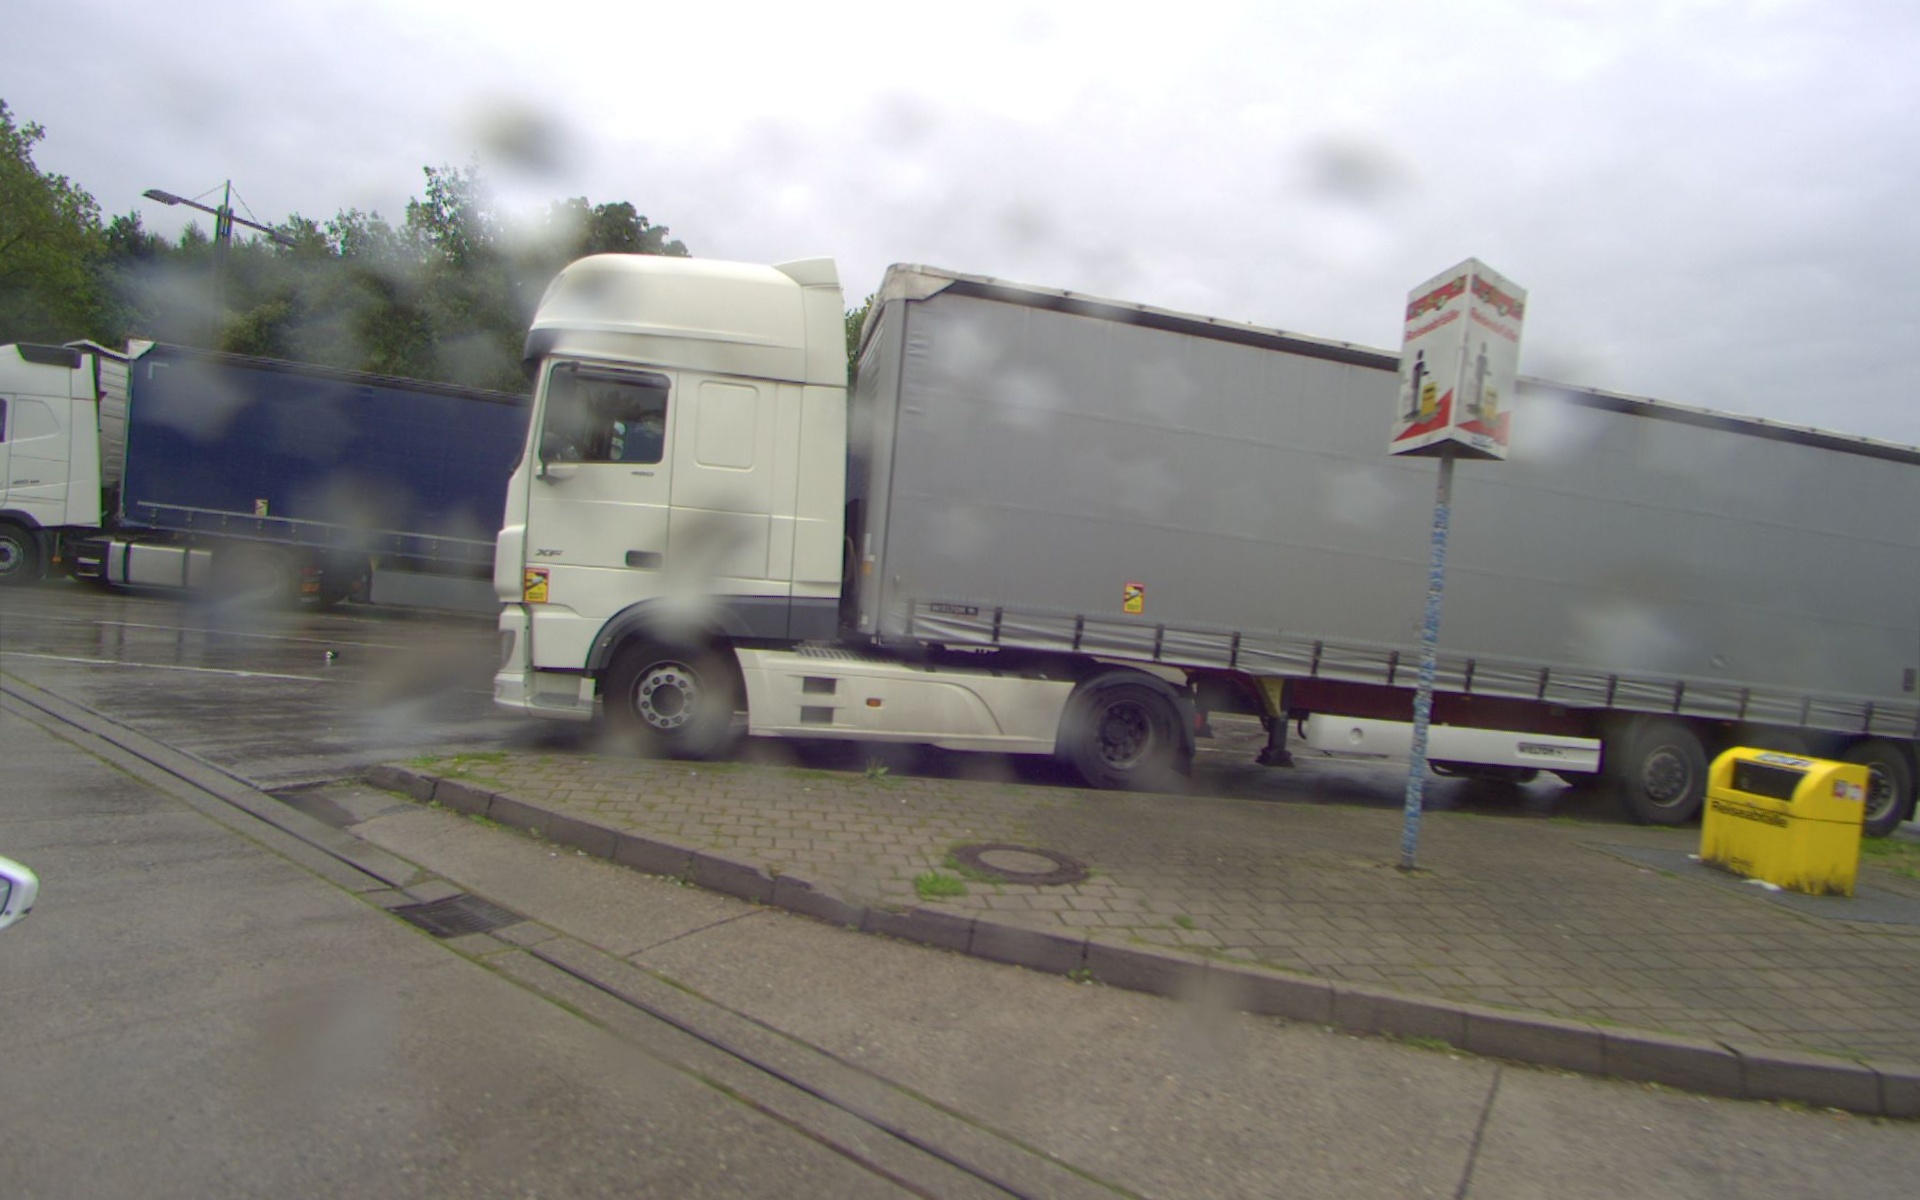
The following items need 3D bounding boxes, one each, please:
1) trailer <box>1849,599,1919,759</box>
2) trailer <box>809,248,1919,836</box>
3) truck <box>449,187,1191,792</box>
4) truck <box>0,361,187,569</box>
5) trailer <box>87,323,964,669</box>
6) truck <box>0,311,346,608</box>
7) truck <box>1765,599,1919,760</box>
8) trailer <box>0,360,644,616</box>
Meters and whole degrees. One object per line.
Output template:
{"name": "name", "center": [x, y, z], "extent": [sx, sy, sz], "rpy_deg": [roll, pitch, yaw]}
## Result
{"name": "trailer", "center": [28.474, 2.192, 22.272], "extent": [2.625, 4.305, 14.146], "rpy_deg": [8, -2, -11]}
{"name": "trailer", "center": [5.552, -0.061, 10.597], "extent": [13.724, 3.970, 2.836], "rpy_deg": [6, 2, -12]}
{"name": "truck", "center": [-1.172, -0.701, 9.134], "extent": [5.322, 3.963, 2.823], "rpy_deg": [6, 1, -13]}
{"name": "truck", "center": [-21.668, -3.106, 22.629], "extent": [5.900, 4.203, 2.818], "rpy_deg": [6, 1, -13]}
{"name": "trailer", "center": [-7.090, -1.562, 18.549], "extent": [13.762, 4.225, 2.819], "rpy_deg": [6, 1, -12]}
{"name": "truck", "center": [-14.044, -2.255, 17.097], "extent": [5.214, 4.199, 2.819], "rpy_deg": [6, 1, -12]}
{"name": "truck", "center": [27.258, 2.320, 28.301], "extent": [2.625, 4.323, 6.775], "rpy_deg": [8, -2, -11]}
{"name": "trailer", "center": [-15.051, -2.429, 24.158], "extent": [13.740, 4.203, 2.818], "rpy_deg": [6, 1, -13]}
